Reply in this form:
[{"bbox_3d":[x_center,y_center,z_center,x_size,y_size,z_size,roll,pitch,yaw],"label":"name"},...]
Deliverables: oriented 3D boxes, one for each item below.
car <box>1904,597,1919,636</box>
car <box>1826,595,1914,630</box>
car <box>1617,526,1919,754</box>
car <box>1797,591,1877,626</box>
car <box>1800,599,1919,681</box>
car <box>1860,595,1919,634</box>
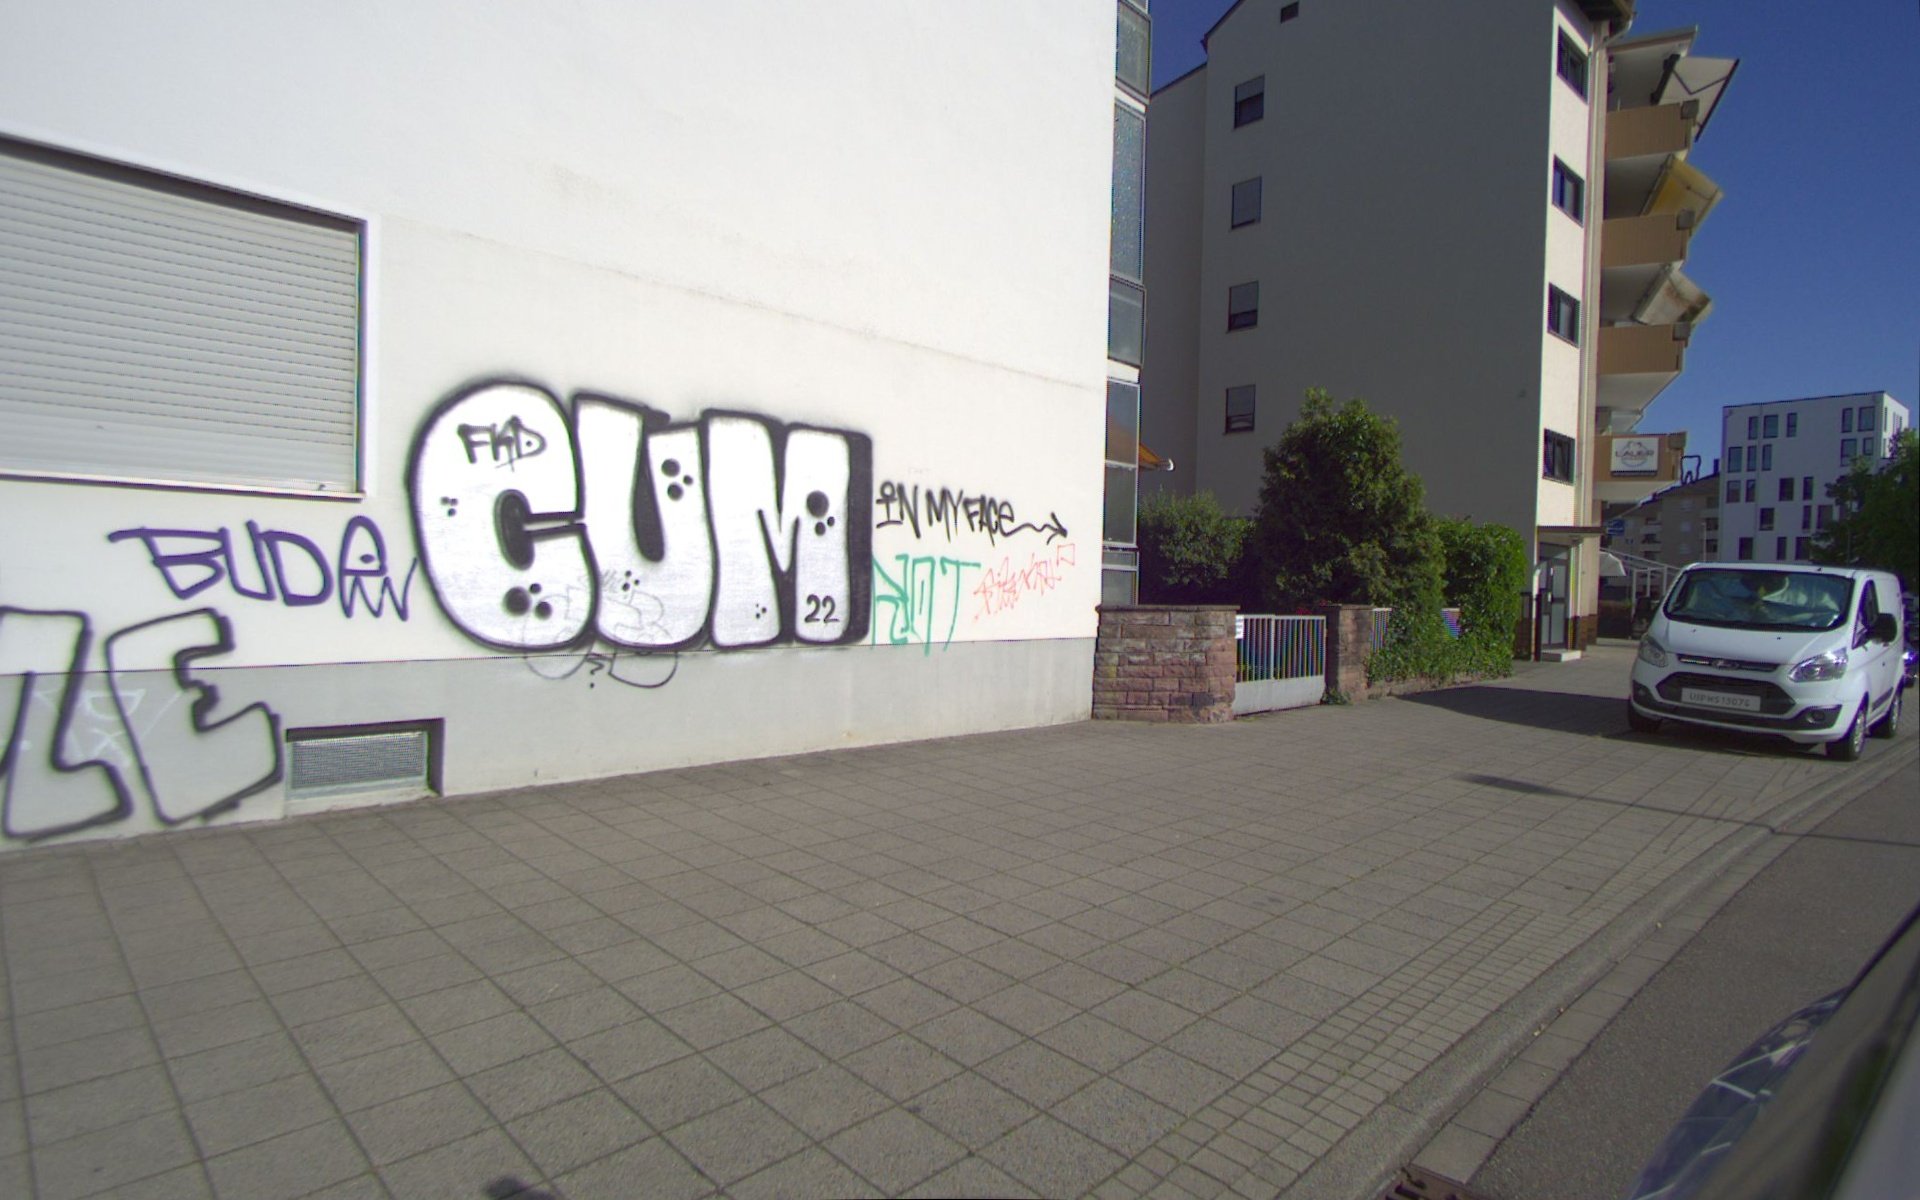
[{"bbox_3d":[40.380,0.700,40.755,2.118,1.634,4.792,0,1,26],"label":"car"},{"bbox_3d":[45.312,0.563,50.536,2.118,1.634,4.421,0,0,26],"label":"car"},{"bbox_3d":[9.485,0.327,11.582,4.714,2.037,1.998,1,4,-42],"label":"car"},{"bbox_3d":[47.518,0.424,54.974,2.118,1.833,4.792,0,0,26],"label":"car"},{"bbox_3d":[19.109,0.776,21.310,1.749,1.411,3.949,6,4,35],"label":"car"},{"bbox_3d":[42.801,0.607,45.592,2.118,1.634,4.792,0,1,26],"label":"car"}]
